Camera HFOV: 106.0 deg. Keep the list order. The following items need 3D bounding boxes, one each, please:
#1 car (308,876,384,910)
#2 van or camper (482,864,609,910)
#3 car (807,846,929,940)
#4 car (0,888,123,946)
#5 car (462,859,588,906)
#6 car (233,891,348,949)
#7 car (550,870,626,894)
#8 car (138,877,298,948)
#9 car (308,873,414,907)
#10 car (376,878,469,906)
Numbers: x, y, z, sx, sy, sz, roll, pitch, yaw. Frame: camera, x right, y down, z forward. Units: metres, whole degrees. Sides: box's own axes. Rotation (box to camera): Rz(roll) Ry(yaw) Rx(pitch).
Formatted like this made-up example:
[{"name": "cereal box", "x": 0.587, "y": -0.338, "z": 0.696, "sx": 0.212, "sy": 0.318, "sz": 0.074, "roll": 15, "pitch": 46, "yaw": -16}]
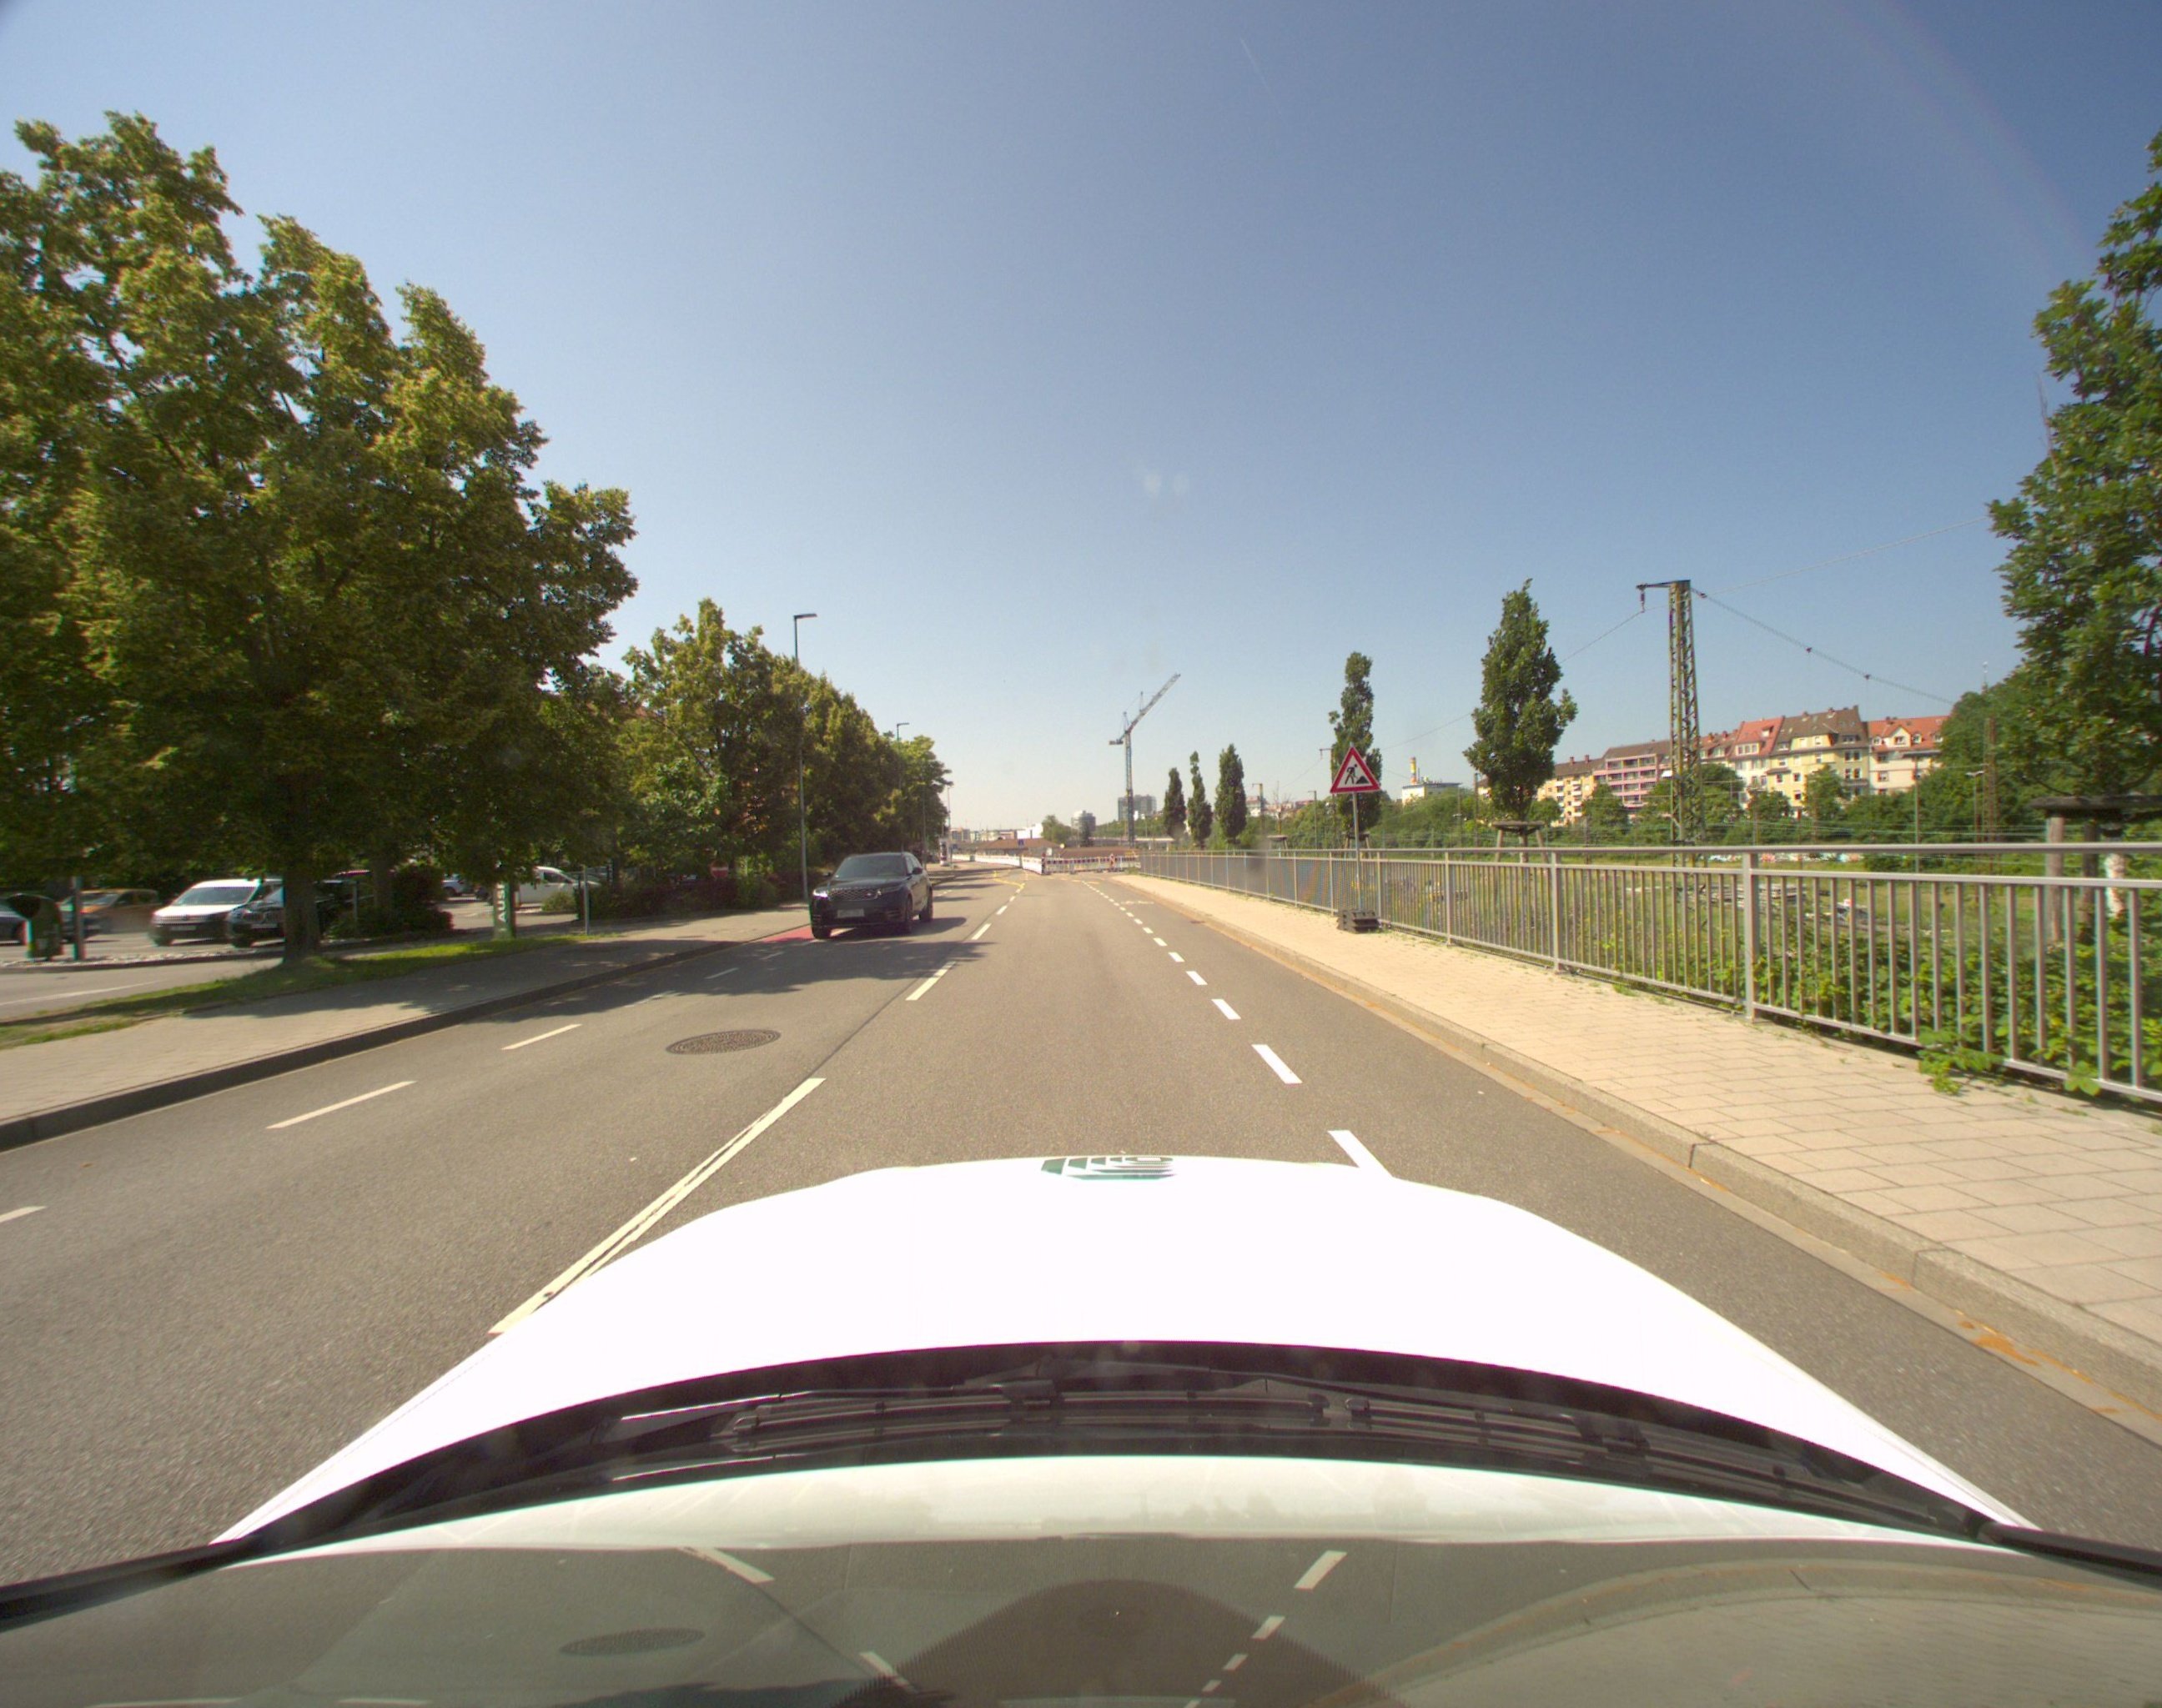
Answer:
[{"name": "car", "x": -35.925, "y": 1.926, "z": 39.803, "sx": 3.390, "sy": 1.526, "sz": 1.511, "roll": -2, "pitch": 0, "yaw": 26}, {"name": "van or camper", "x": -23.566, "y": 1.420, "z": 36.032, "sx": 4.286, "sy": 1.740, "sz": 1.986, "roll": -3, "pitch": 0, "yaw": -21}, {"name": "car", "x": -4.470, "y": 0.723, "z": 17.778, "sx": 1.949, "sy": 1.695, "sz": 4.600, "roll": -2, "pitch": 1, "yaw": -8}, {"name": "car", "x": -30.941, "y": 1.856, "z": 23.081, "sx": 4.402, "sy": 1.438, "sz": 1.983, "roll": -3, "pitch": 1, "yaw": -27}, {"name": "car", "x": -27.234, "y": 1.348, "z": 40.101, "sx": 4.756, "sy": 2.013, "sz": 2.067, "roll": -3, "pitch": 0, "yaw": -26}, {"name": "car", "x": -21.998, "y": 1.786, "z": 22.818, "sx": 1.615, "sy": 1.285, "sz": 3.957, "roll": -3, "pitch": 1, "yaw": -34}, {"name": "car", "x": -35.387, "y": 1.970, "z": 58.609, "sx": 4.286, "sy": 1.438, "sz": 1.986, "roll": -3, "pitch": 1, "yaw": -21}, {"name": "car", "x": -25.080, "y": 1.616, "z": 23.874, "sx": 1.721, "sy": 1.735, "sz": 4.213, "roll": -3, "pitch": 1, "yaw": -25}, {"name": "car", "x": -40.192, "y": 1.994, "z": 45.571, "sx": 3.994, "sy": 1.598, "sz": 1.789, "roll": -3, "pitch": 0, "yaw": -15}, {"name": "car", "x": -39.265, "y": 2.249, "z": 48.663, "sx": 4.008, "sy": 1.338, "sz": 1.572, "roll": -3, "pitch": 1, "yaw": -26}]
